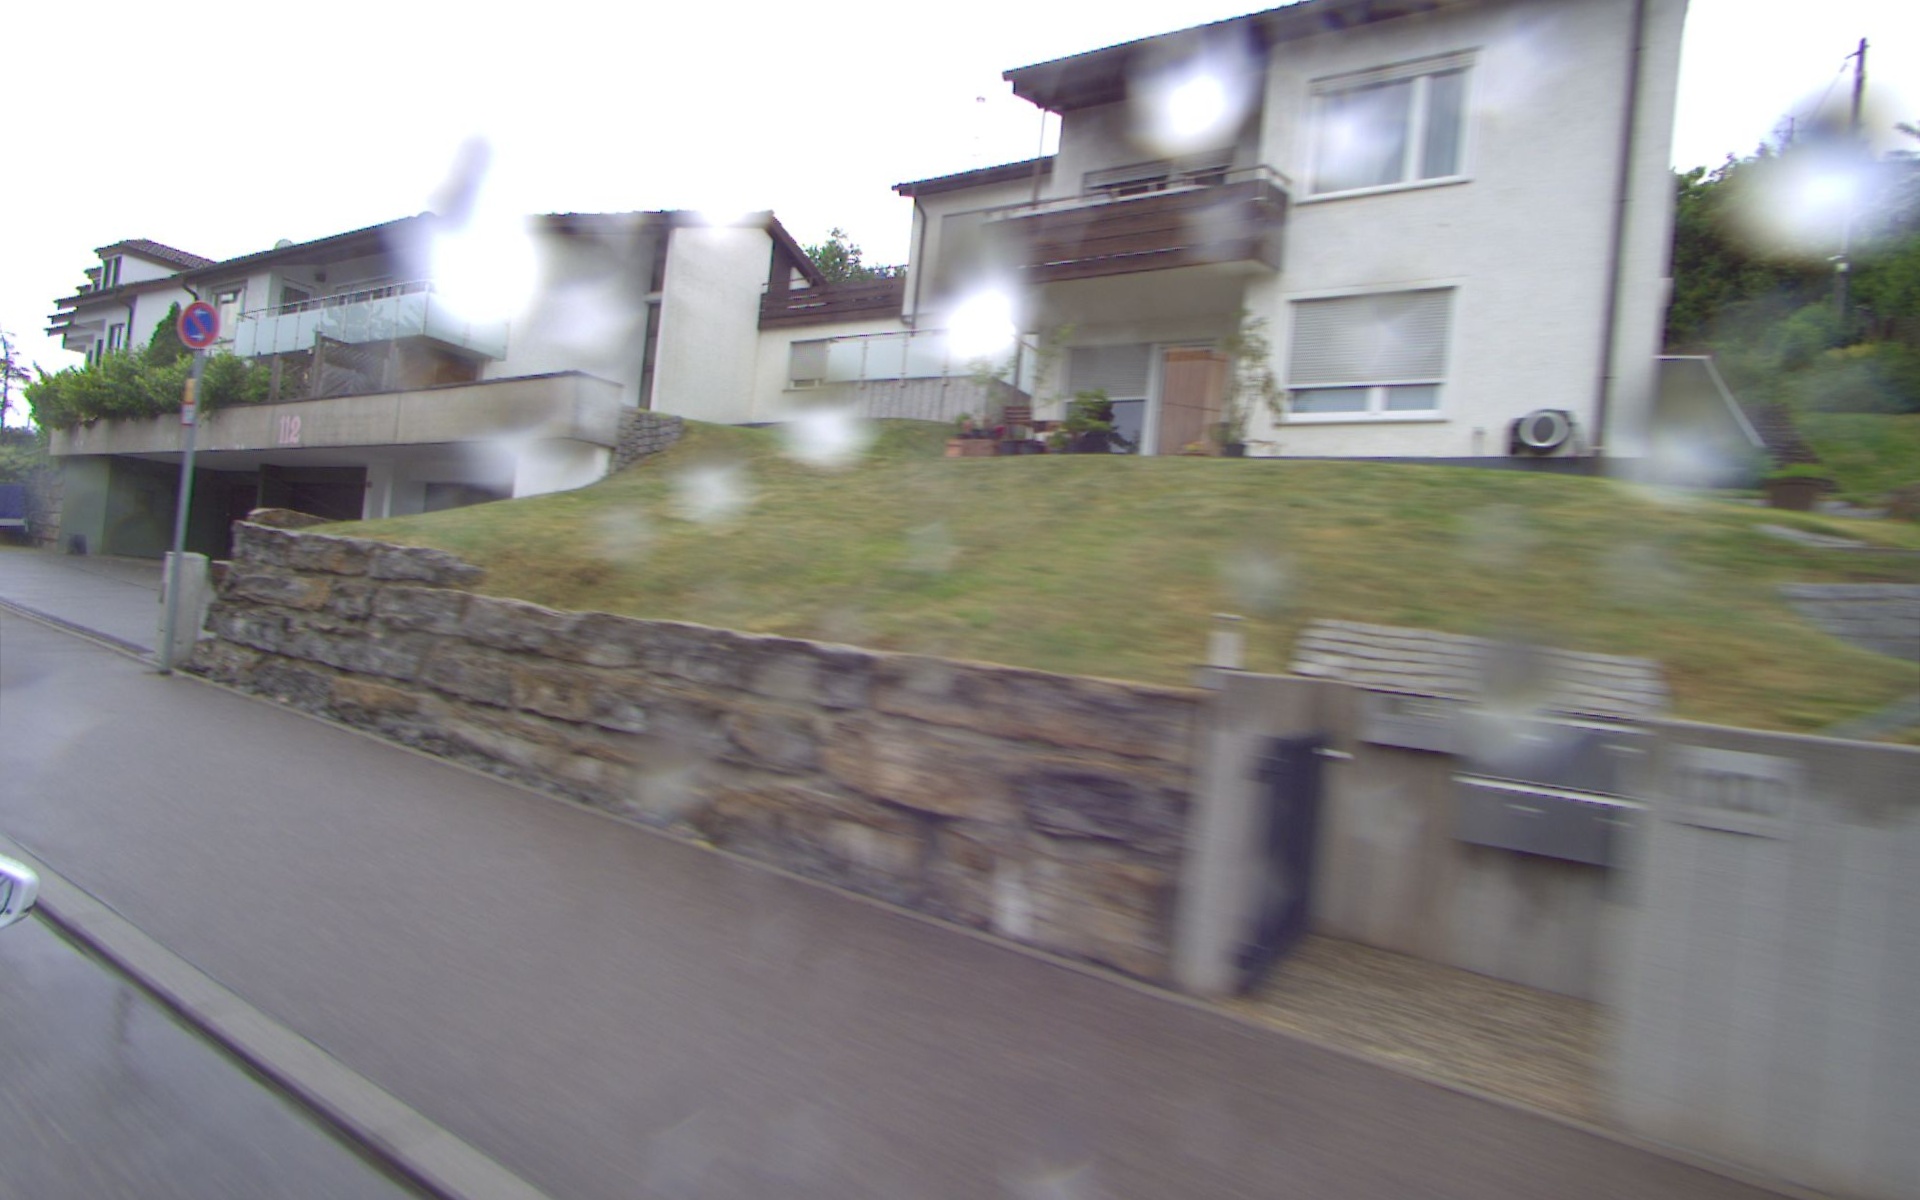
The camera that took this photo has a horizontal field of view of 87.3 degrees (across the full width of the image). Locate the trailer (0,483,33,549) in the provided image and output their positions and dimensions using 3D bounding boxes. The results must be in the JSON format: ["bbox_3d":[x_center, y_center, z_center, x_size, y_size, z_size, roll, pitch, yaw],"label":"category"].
[{"bbox_3d":[-28.066,-2.532,28.508,1.972,1.769,2.351,7,-1,42],"label":"trailer"}]
